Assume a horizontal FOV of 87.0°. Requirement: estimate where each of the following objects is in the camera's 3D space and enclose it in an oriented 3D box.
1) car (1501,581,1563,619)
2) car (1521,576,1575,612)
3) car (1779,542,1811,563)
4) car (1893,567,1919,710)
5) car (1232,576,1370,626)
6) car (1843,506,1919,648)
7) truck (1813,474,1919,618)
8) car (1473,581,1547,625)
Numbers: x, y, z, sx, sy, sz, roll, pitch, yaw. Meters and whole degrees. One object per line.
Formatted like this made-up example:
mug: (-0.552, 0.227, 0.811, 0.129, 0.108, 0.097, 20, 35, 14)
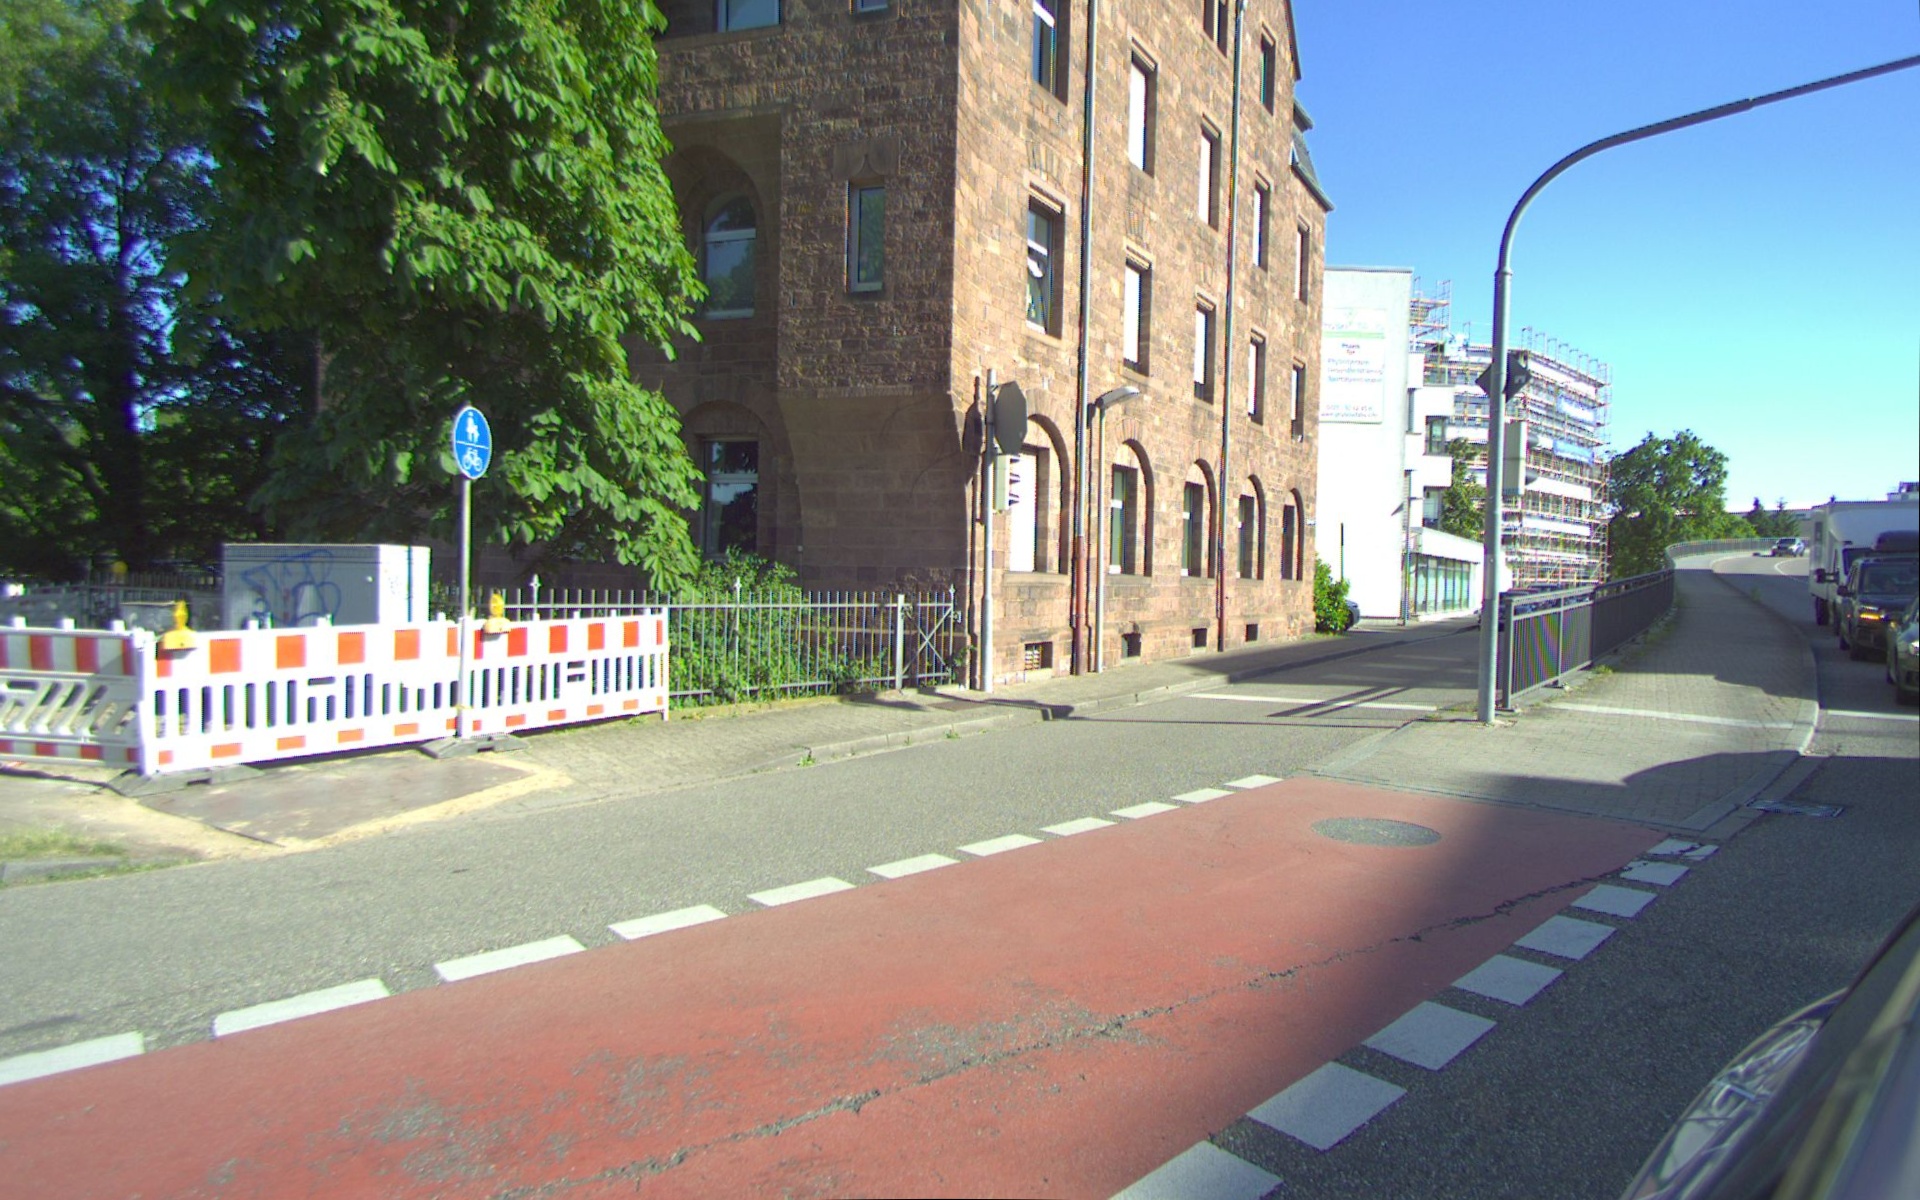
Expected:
car: (25.001, -0.018, 44.158, 2.040, 1.550, 4.043, 2, 1, 34)
car: (29.082, -0.307, 49.971, 2.040, 1.707, 4.043, 2, 1, 34)
car: (75.195, -4.270, 91.116, 1.753, 1.781, 4.707, 3, 2, 45)
car: (12.675, 0.407, 12.227, 1.873, 1.488, 4.568, 3, 4, 41)
car: (11.466, 0.006, 34.234, 4.017, 1.550, 1.919, 1, 1, 2)
car: (17.130, -0.371, 18.013, 1.943, 2.289, 4.716, 2, 2, 40)
truck: (23.085, -1.228, 25.201, 2.492, 3.167, 6.864, 2, 2, 38)
car: (20.755, 0.078, 38.090, 2.041, 1.550, 4.042, 2, 1, 34)
